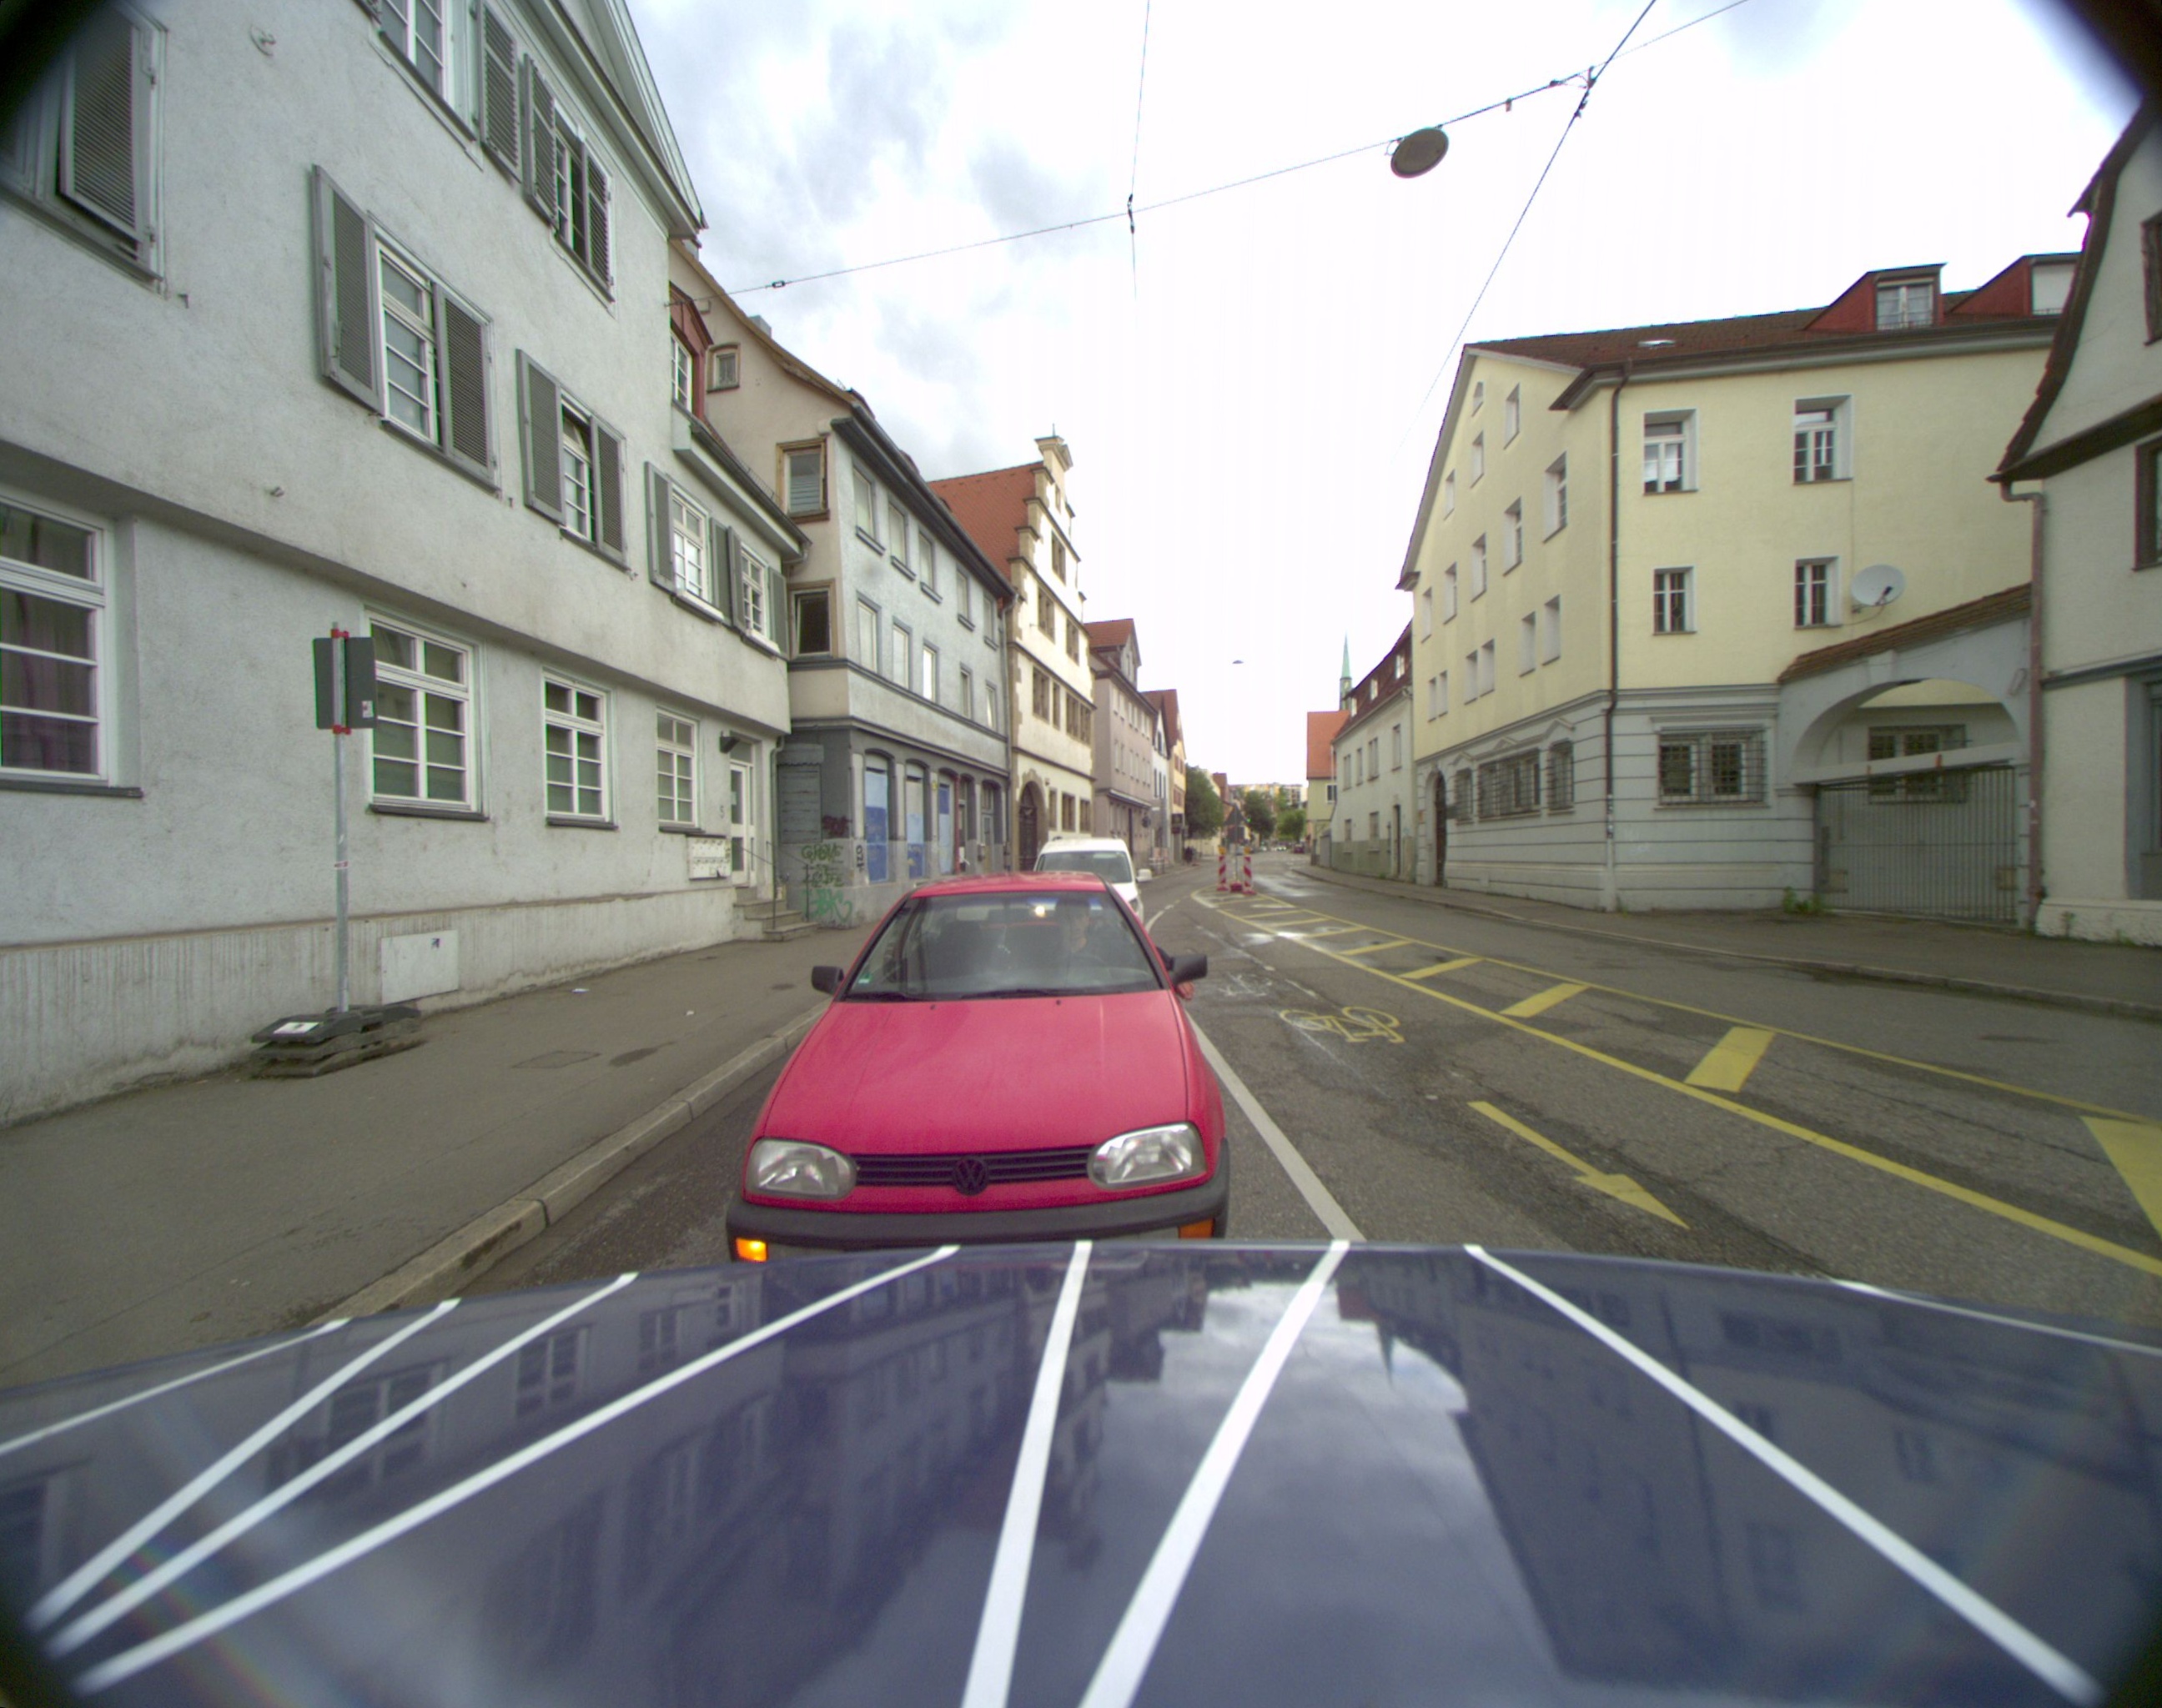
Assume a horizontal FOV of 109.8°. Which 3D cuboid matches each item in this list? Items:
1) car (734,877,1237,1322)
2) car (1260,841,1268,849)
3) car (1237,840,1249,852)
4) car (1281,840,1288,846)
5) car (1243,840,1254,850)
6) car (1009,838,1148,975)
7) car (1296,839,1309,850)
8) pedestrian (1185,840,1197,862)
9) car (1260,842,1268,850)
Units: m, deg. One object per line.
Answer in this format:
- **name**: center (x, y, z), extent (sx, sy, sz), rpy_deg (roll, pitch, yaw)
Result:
- **car**: center (-0.330, 0.989, 4.858), extent (1.804, 1.458, 4.000), rpy_deg (-4, 0, 1)
- **car**: center (44.977, -2.157, 186.810), extent (1.996, 2.002, 4.004), rpy_deg (-1, 0, 13)
- **car**: center (28.470, -1.343, 133.500), extent (1.996, 2.002, 4.004), rpy_deg (-1, 0, 13)
- **car**: center (65.660, -3.537, 245.433), extent (1.996, 2.002, 4.004), rpy_deg (-1, 0, 13)
- **car**: center (34.040, -1.756, 154.267), extent (1.996, 2.002, 4.004), rpy_deg (-1, 0, 13)
- **car**: center (-0.001, 0.701, 12.217), extent (1.804, 1.781, 4.349), rpy_deg (-1, 0, 1)
- **car**: center (42.744, -1.777, 146.579), extent (2.057, 2.002, 4.004), rpy_deg (-1, 0, 13)
- **pedestrian**: center (9.521, -0.282, 65.661), extent (0.877, 1.888, 0.898), rpy_deg (-1, 0, 14)
- **car**: center (48.500, -2.108, 201.283), extent (1.996, 2.002, 4.004), rpy_deg (-1, 0, 13)
